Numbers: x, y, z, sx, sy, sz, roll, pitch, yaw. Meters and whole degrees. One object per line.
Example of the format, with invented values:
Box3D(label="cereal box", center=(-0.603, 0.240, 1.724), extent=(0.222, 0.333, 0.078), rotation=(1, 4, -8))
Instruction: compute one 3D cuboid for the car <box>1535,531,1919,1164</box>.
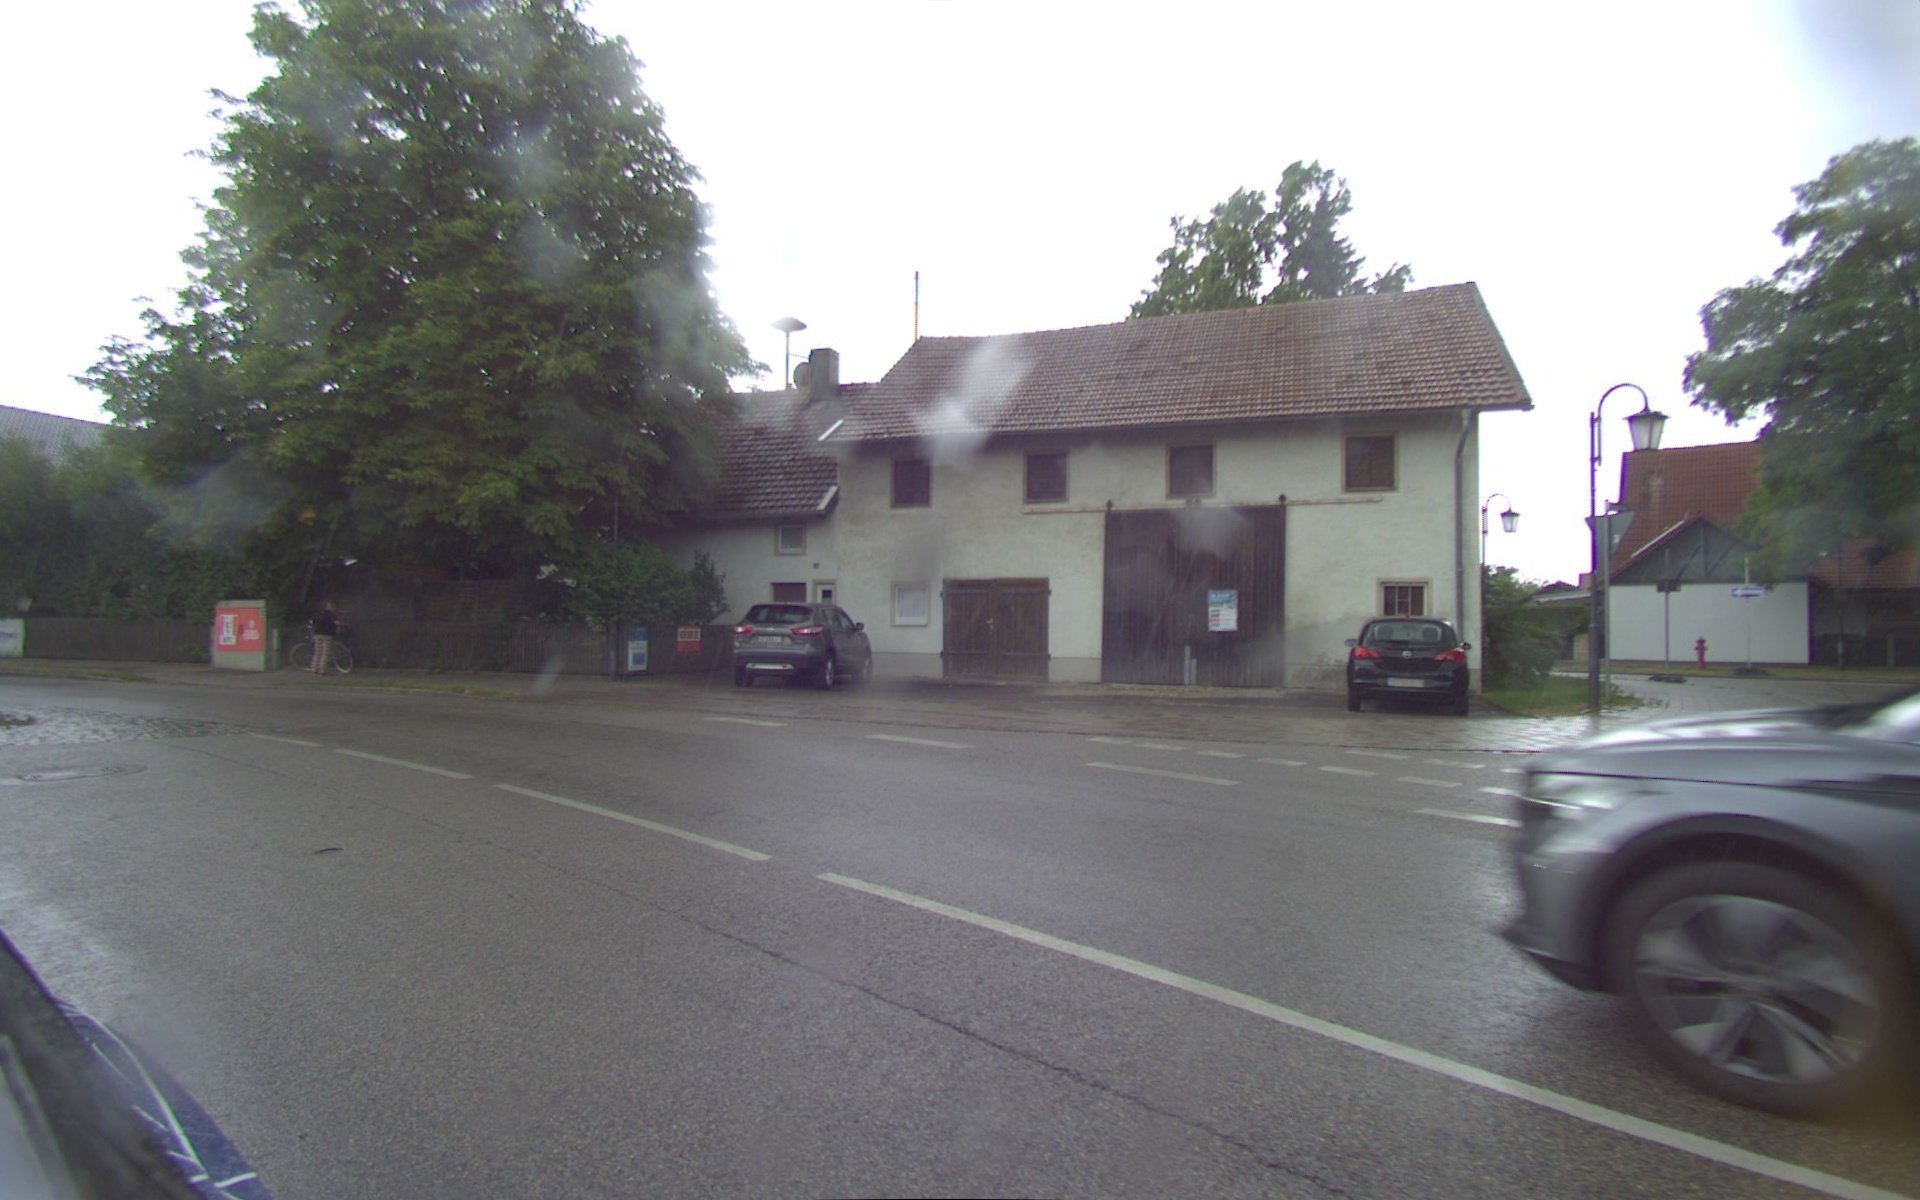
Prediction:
Box3D(label="car", center=(3.982, 0.602, 2.353), extent=(1.970, 1.607, 4.195), rotation=(0, -1, -43))

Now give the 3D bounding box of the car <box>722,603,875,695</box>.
Box3D(label="car", center=(-2.965, 0.940, 19.547), extent=(1.796, 1.560, 4.271), rotation=(0, -3, 7))

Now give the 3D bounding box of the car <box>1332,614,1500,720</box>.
Box3D(label="car", center=(7.375, 0.962, 16.147), extent=(1.816, 1.447, 4.232), rotation=(-1, -1, 33))

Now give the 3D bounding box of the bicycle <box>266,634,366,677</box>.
Box3D(label="bicycle", center=(-14.209, 1.222, 22.338), extent=(1.851, 0.909, 0.663), rotation=(0, -1, 6))

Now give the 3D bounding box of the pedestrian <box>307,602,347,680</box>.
Box3D(label="pedestrian", center=(-13.522, 0.862, 21.620), extent=(0.642, 1.640, 0.480), rotation=(1, -1, -23))
